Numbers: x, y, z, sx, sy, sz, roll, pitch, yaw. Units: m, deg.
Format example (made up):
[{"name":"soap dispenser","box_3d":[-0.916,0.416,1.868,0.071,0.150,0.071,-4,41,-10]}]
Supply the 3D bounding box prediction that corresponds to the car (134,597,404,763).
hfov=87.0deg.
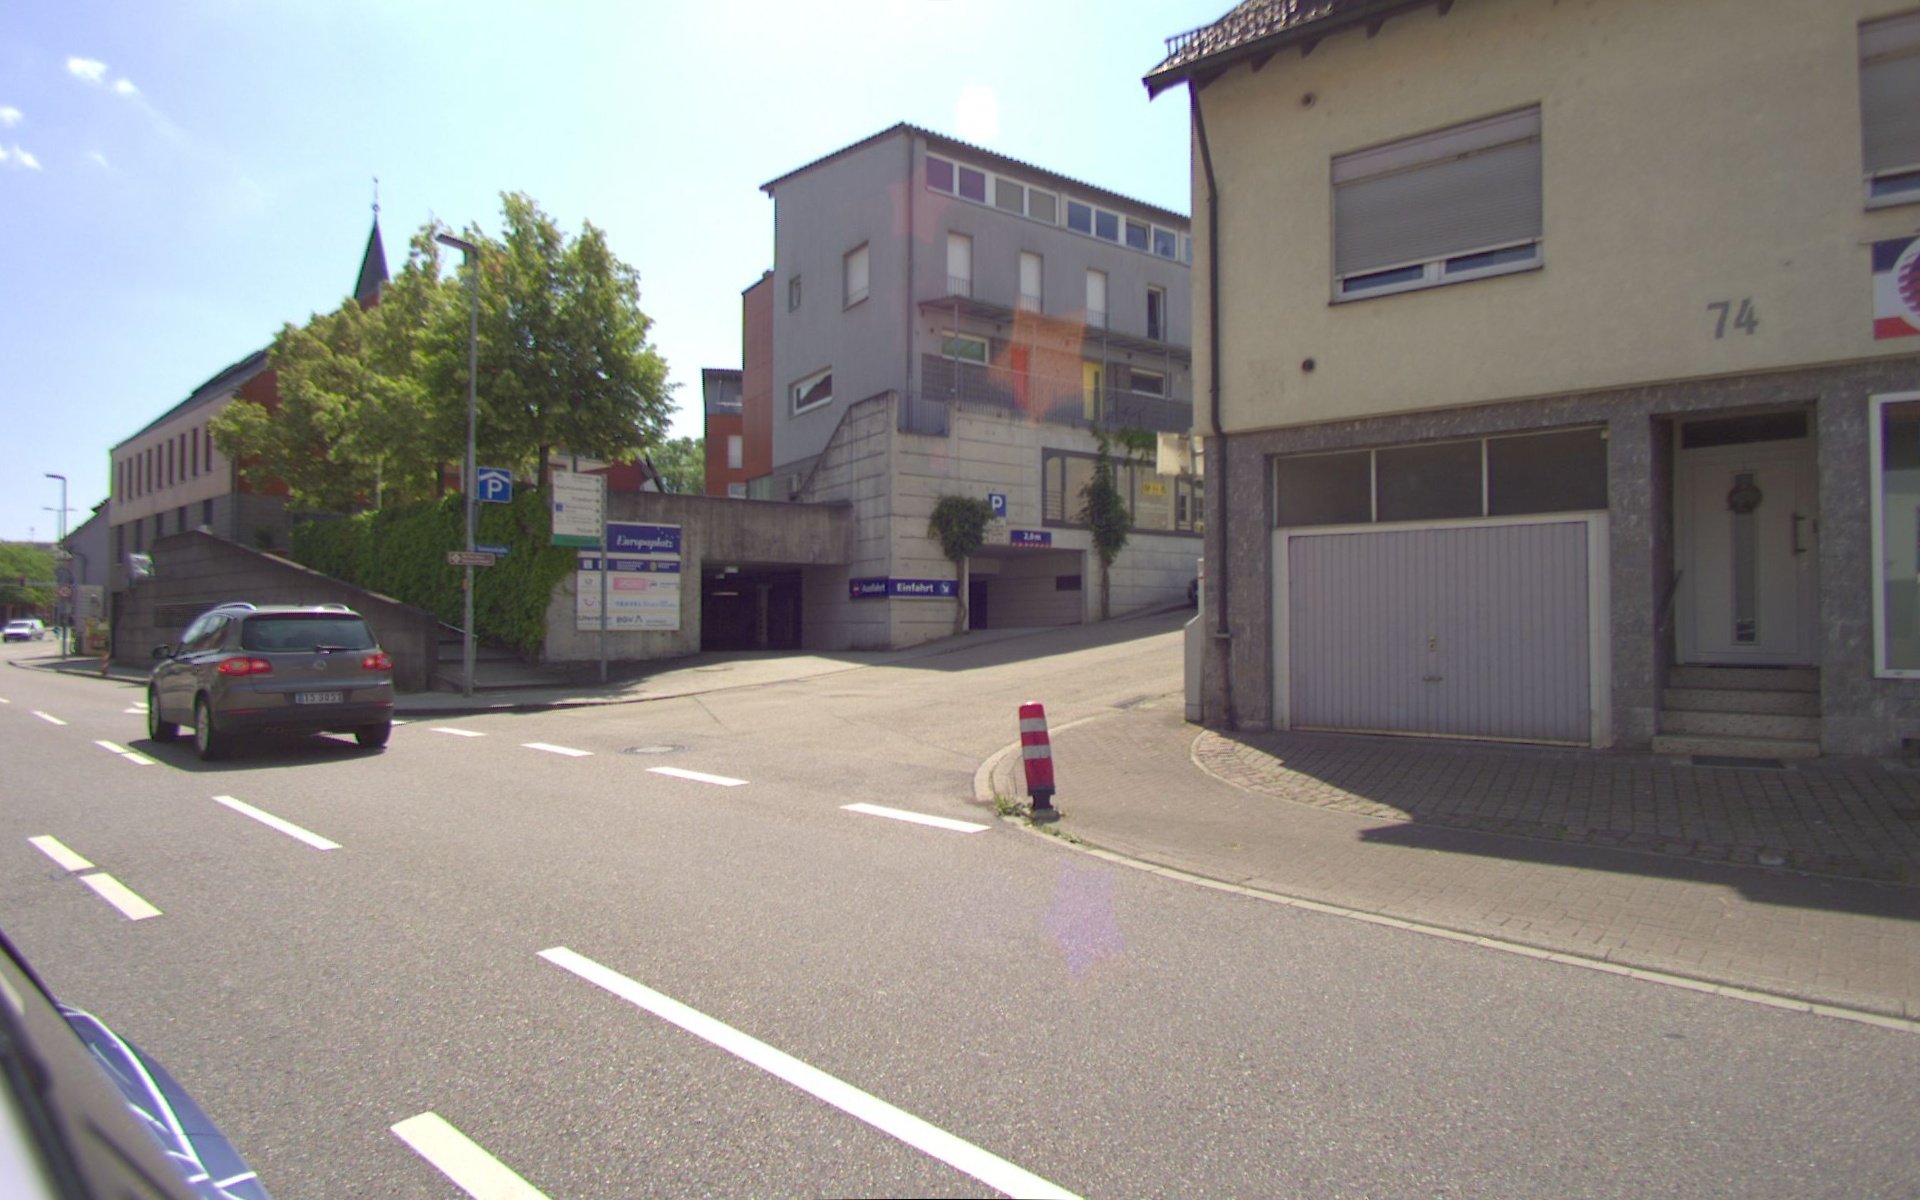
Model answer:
[{"name":"car","box_3d":[-8.315,0.864,12.041,4.048,1.648,1.739,-2,-3,42]}]

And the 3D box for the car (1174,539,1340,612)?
[{"name":"car","box_3d":[8.036,-0.670,27.253,4.432,1.431,1.763,-8,2,-33]}]

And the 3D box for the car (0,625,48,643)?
[{"name":"car","box_3d":[-86.922,3.144,93.759,1.978,1.643,4.592,0,-2,-20]}]

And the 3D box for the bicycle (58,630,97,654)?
[{"name":"bicycle","box_3d":[-51.798,2.449,59.418,0.571,1.258,1.828,-4,0,5]}]
